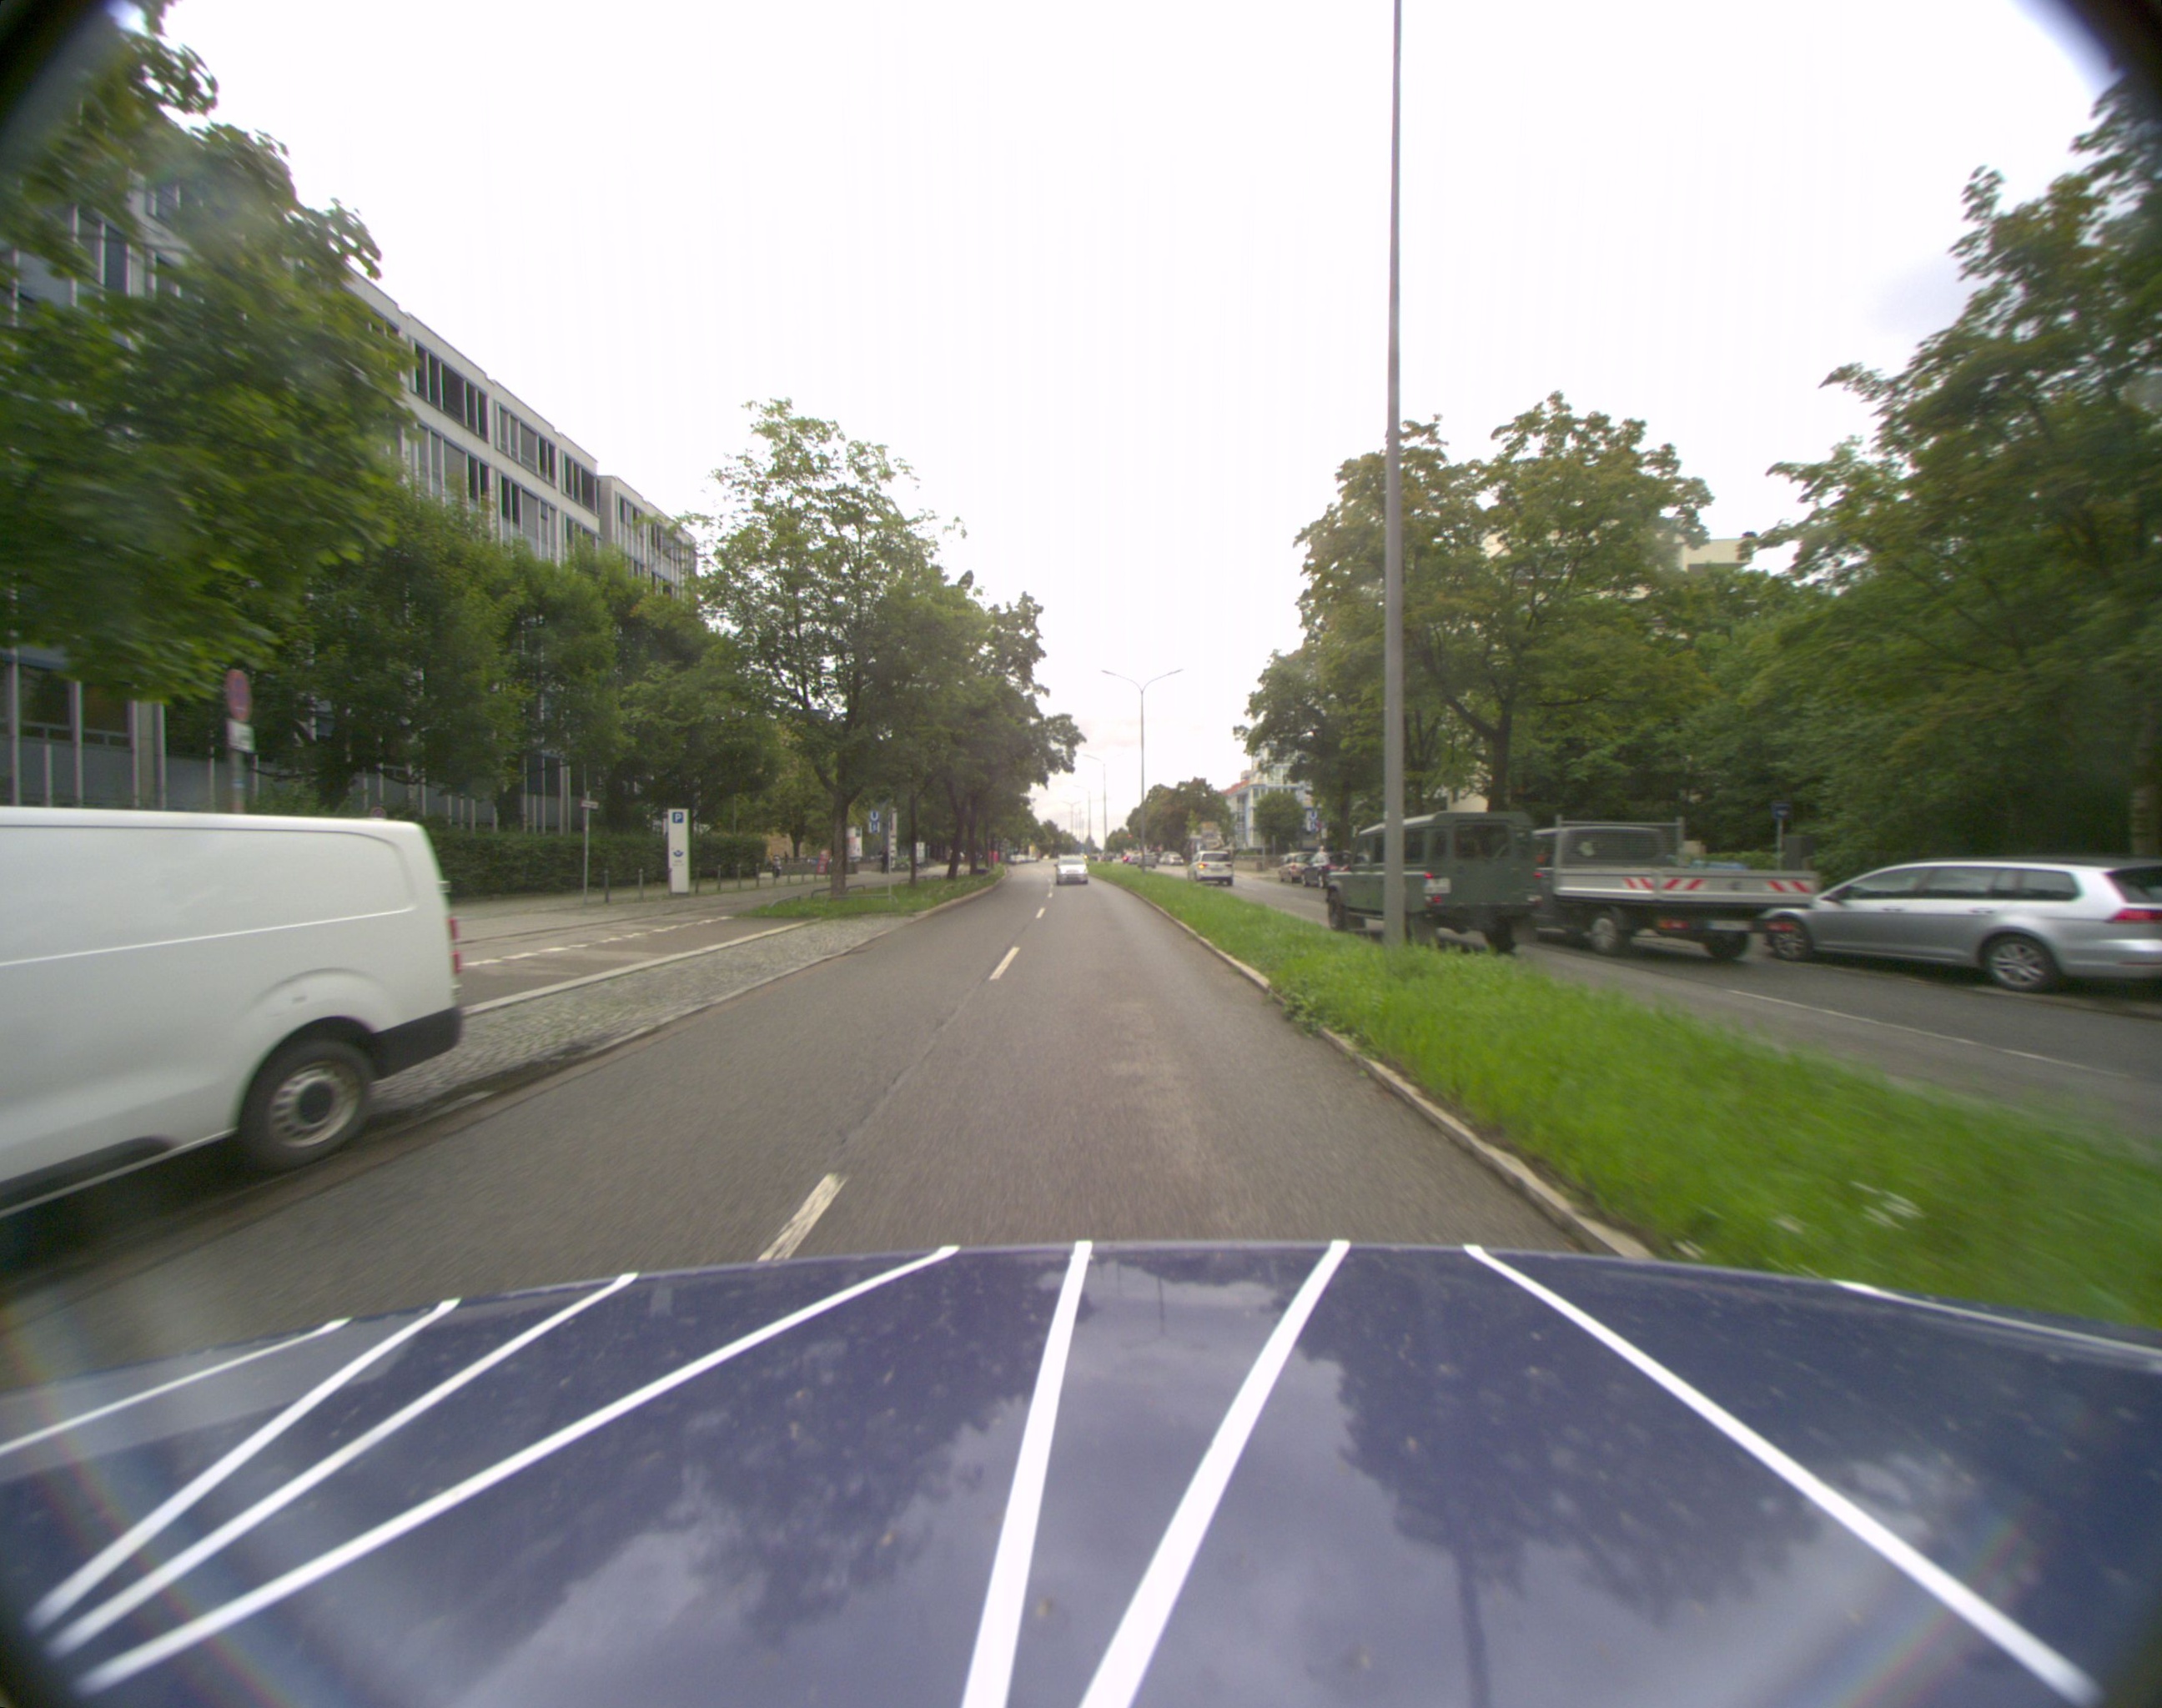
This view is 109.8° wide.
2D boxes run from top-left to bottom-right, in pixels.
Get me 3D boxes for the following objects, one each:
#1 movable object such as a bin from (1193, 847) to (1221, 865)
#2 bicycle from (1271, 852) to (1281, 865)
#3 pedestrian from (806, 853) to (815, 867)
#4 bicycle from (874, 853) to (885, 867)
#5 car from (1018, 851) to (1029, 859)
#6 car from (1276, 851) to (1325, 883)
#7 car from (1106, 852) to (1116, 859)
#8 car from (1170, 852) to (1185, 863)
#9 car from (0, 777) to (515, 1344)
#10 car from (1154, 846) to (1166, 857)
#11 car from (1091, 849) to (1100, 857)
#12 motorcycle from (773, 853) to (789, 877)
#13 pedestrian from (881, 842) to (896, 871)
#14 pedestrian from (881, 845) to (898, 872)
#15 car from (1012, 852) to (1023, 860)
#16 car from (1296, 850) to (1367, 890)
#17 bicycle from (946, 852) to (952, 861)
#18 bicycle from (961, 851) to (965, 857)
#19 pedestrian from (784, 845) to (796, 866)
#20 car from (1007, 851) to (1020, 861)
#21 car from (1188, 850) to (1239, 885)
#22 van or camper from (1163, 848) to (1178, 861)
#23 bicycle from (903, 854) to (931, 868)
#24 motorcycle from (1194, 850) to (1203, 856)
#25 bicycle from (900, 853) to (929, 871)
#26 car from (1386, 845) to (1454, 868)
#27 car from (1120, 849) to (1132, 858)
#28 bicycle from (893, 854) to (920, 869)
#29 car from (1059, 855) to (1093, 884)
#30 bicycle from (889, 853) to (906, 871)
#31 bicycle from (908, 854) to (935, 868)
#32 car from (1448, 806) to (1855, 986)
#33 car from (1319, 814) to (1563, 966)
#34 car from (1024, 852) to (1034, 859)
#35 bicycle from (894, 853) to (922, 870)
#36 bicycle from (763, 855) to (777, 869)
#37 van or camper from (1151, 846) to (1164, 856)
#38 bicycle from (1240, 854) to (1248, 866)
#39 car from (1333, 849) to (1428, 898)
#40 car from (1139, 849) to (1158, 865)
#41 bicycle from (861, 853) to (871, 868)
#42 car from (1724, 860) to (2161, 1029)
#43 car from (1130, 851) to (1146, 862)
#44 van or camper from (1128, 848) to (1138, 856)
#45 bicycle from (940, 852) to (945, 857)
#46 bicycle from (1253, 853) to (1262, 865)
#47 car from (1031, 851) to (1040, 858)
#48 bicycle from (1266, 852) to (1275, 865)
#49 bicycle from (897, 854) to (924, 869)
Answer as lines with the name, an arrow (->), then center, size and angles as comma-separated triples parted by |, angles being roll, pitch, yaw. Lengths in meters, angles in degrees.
movable object such as a bin -> 14.024, 0.199, 84.725 | 2.199, 1.941, 3.998 | 0, 0, -5
bicycle -> 17.572, 0.388, 68.417 | 0.409, 1.090, 1.955 | -4, 0, 3
pedestrian -> -32.984, 0.745, 92.625 | 0.571, 1.636, 0.881 | 1, 1, 37
bicycle -> -16.461, 0.485, 62.198 | 0.447, 1.182, 1.954 | 0, 0, -2
car -> -10.774, 0.230, 143.053 | 1.682, 1.522, 4.096 | 0, 0, 1
car -> 11.656, 0.649, 40.618 | 1.651, 1.605, 3.819 | -2, 0, 3
car -> 5.889, 0.285, 150.811 | 1.962, 1.471, 4.259 | 0, 0, 2
car -> 13.671, 0.477, 108.007 | 1.651, 1.480, 3.901 | 0, 0, -1
car -> -5.093, 0.781, 2.635 | 1.992, 2.145, 5.555 | 0, 0, 1
car -> 14.313, -0.499, 138.071 | 1.801, 1.986, 4.546 | 0, 1, 1
car -> 2.811, -0.207, 148.345 | 1.787, 1.397, 4.101 | 0, 0, -1
motorcycle -> -16.836, 0.616, 42.626 | 0.550, 1.311, 2.071 | 0, 0, -14
pedestrian -> -12.702, 0.187, 50.113 | 0.652, 1.888, 0.750 | 0, 1, 12
pedestrian -> -12.385, 0.303, 49.153 | 0.784, 1.704, 0.751 | 0, 1, 15
car -> -11.074, 0.392, 132.871 | 1.627, 1.373, 4.194 | 0, 0, -1
car -> 11.403, 0.684, 34.905 | 1.743, 1.634, 4.684 | -2, 0, 1
bicycle -> -17.512, 0.323, 100.537 | 0.622, 1.243, 1.919 | 0, 0, -6
bicycle -> -22.436, 0.044, 144.274 | 0.512, 1.185, 2.141 | 0, 1, -1
pedestrian -> -24.687, 0.150, 64.486 | 0.687, 1.762, 0.770 | 0, 1, 11
car -> -10.940, 0.266, 123.084 | 1.866, 1.581, 4.602 | 0, 0, -2
car -> 6.485, 0.602, 37.627 | 1.838, 1.633, 4.350 | 0, 0, 1
van or camper -> 13.934, 0.116, 118.208 | 1.809, 1.956, 5.210 | 0, 0, 1
bicycle -> -12.875, 0.552, 59.680 | 2.045, 1.083, 0.603 | 1, 3, -44
motorcycle -> 22.818, -0.201, 147.721 | 1.814, 1.164, 0.464 | 0, 1, -4
bicycle -> -12.164, 0.591, 55.514 | 1.958, 1.182, 0.595 | 3, -1, -33
car -> 23.755, 0.175, 53.356 | 3.996, 1.580, 1.749 | 0, 0, 2
car -> 7.147, -0.037, 121.327 | 1.696, 1.394, 3.967 | 0, 0, 0
bicycle -> -13.126, 0.569, 57.163 | 1.959, 1.077, 0.595 | 3, -2, -44
car -> -0.221, 0.769, 40.133 | 1.679, 1.434, 3.734 | 0, 0, 1
bicycle -> -12.724, 0.567, 52.608 | 0.531, 1.219, 1.862 | 2, -1, 5
bicycle -> -12.851, 0.564, 61.288 | 2.037, 1.093, 0.578 | 2, 1, -44
car -> 8.443, 0.507, 12.288 | 2.214, 2.181, 5.799 | 1, 0, 1
car -> 5.542, 0.473, 12.522 | 1.785, 2.018, 4.818 | 0, 0, 1
car -> -10.489, 0.340, 153.758 | 1.590, 1.310, 3.734 | 0, 0, 1
bicycle -> -12.830, 0.559, 56.270 | 1.959, 1.101, 0.579 | 4, -3, -44
bicycle -> -28.253, 0.757, 69.064 | 0.608, 1.253, 2.054 | 0, 0, -7
van or camper -> 14.515, -0.522, 144.103 | 2.025, 1.931, 4.704 | 0, 1, 1
bicycle -> 14.656, 0.513, 68.341 | 0.409, 1.071, 1.955 | -4, 0, 3
car -> 11.359, 0.691, 29.178 | 1.743, 1.642, 4.606 | -3, 0, -1
car -> 7.207, 0.305, 81.669 | 1.770, 1.615, 4.376 | 0, 0, 1
bicycle -> -17.730, 0.519, 62.690 | 0.513, 1.182, 2.140 | 0, 0, -10
car -> 10.973, 0.865, 9.528 | 1.741, 1.440, 4.822 | -3, 0, 1
car -> 7.599, 0.284, 102.346 | 1.920, 1.476, 4.865 | 0, 0, 1
van or camper -> 11.932, -0.461, 173.327 | 2.020, 2.004, 5.198 | 0, 0, 1
bicycle -> -25.847, 0.149, 142.253 | 0.572, 0.935, 2.064 | 0, 1, -1
bicycle -> 15.881, 0.468, 68.309 | 0.409, 1.066, 1.955 | -4, 0, 3
car -> -10.180, 0.171, 170.849 | 1.590, 1.495, 3.734 | 0, 0, 1
bicycle -> 17.052, 0.401, 68.421 | 0.409, 1.097, 1.955 | -4, 0, 3
bicycle -> -13.081, 0.555, 58.437 | 1.959, 1.059, 0.578 | 3, 0, -44
